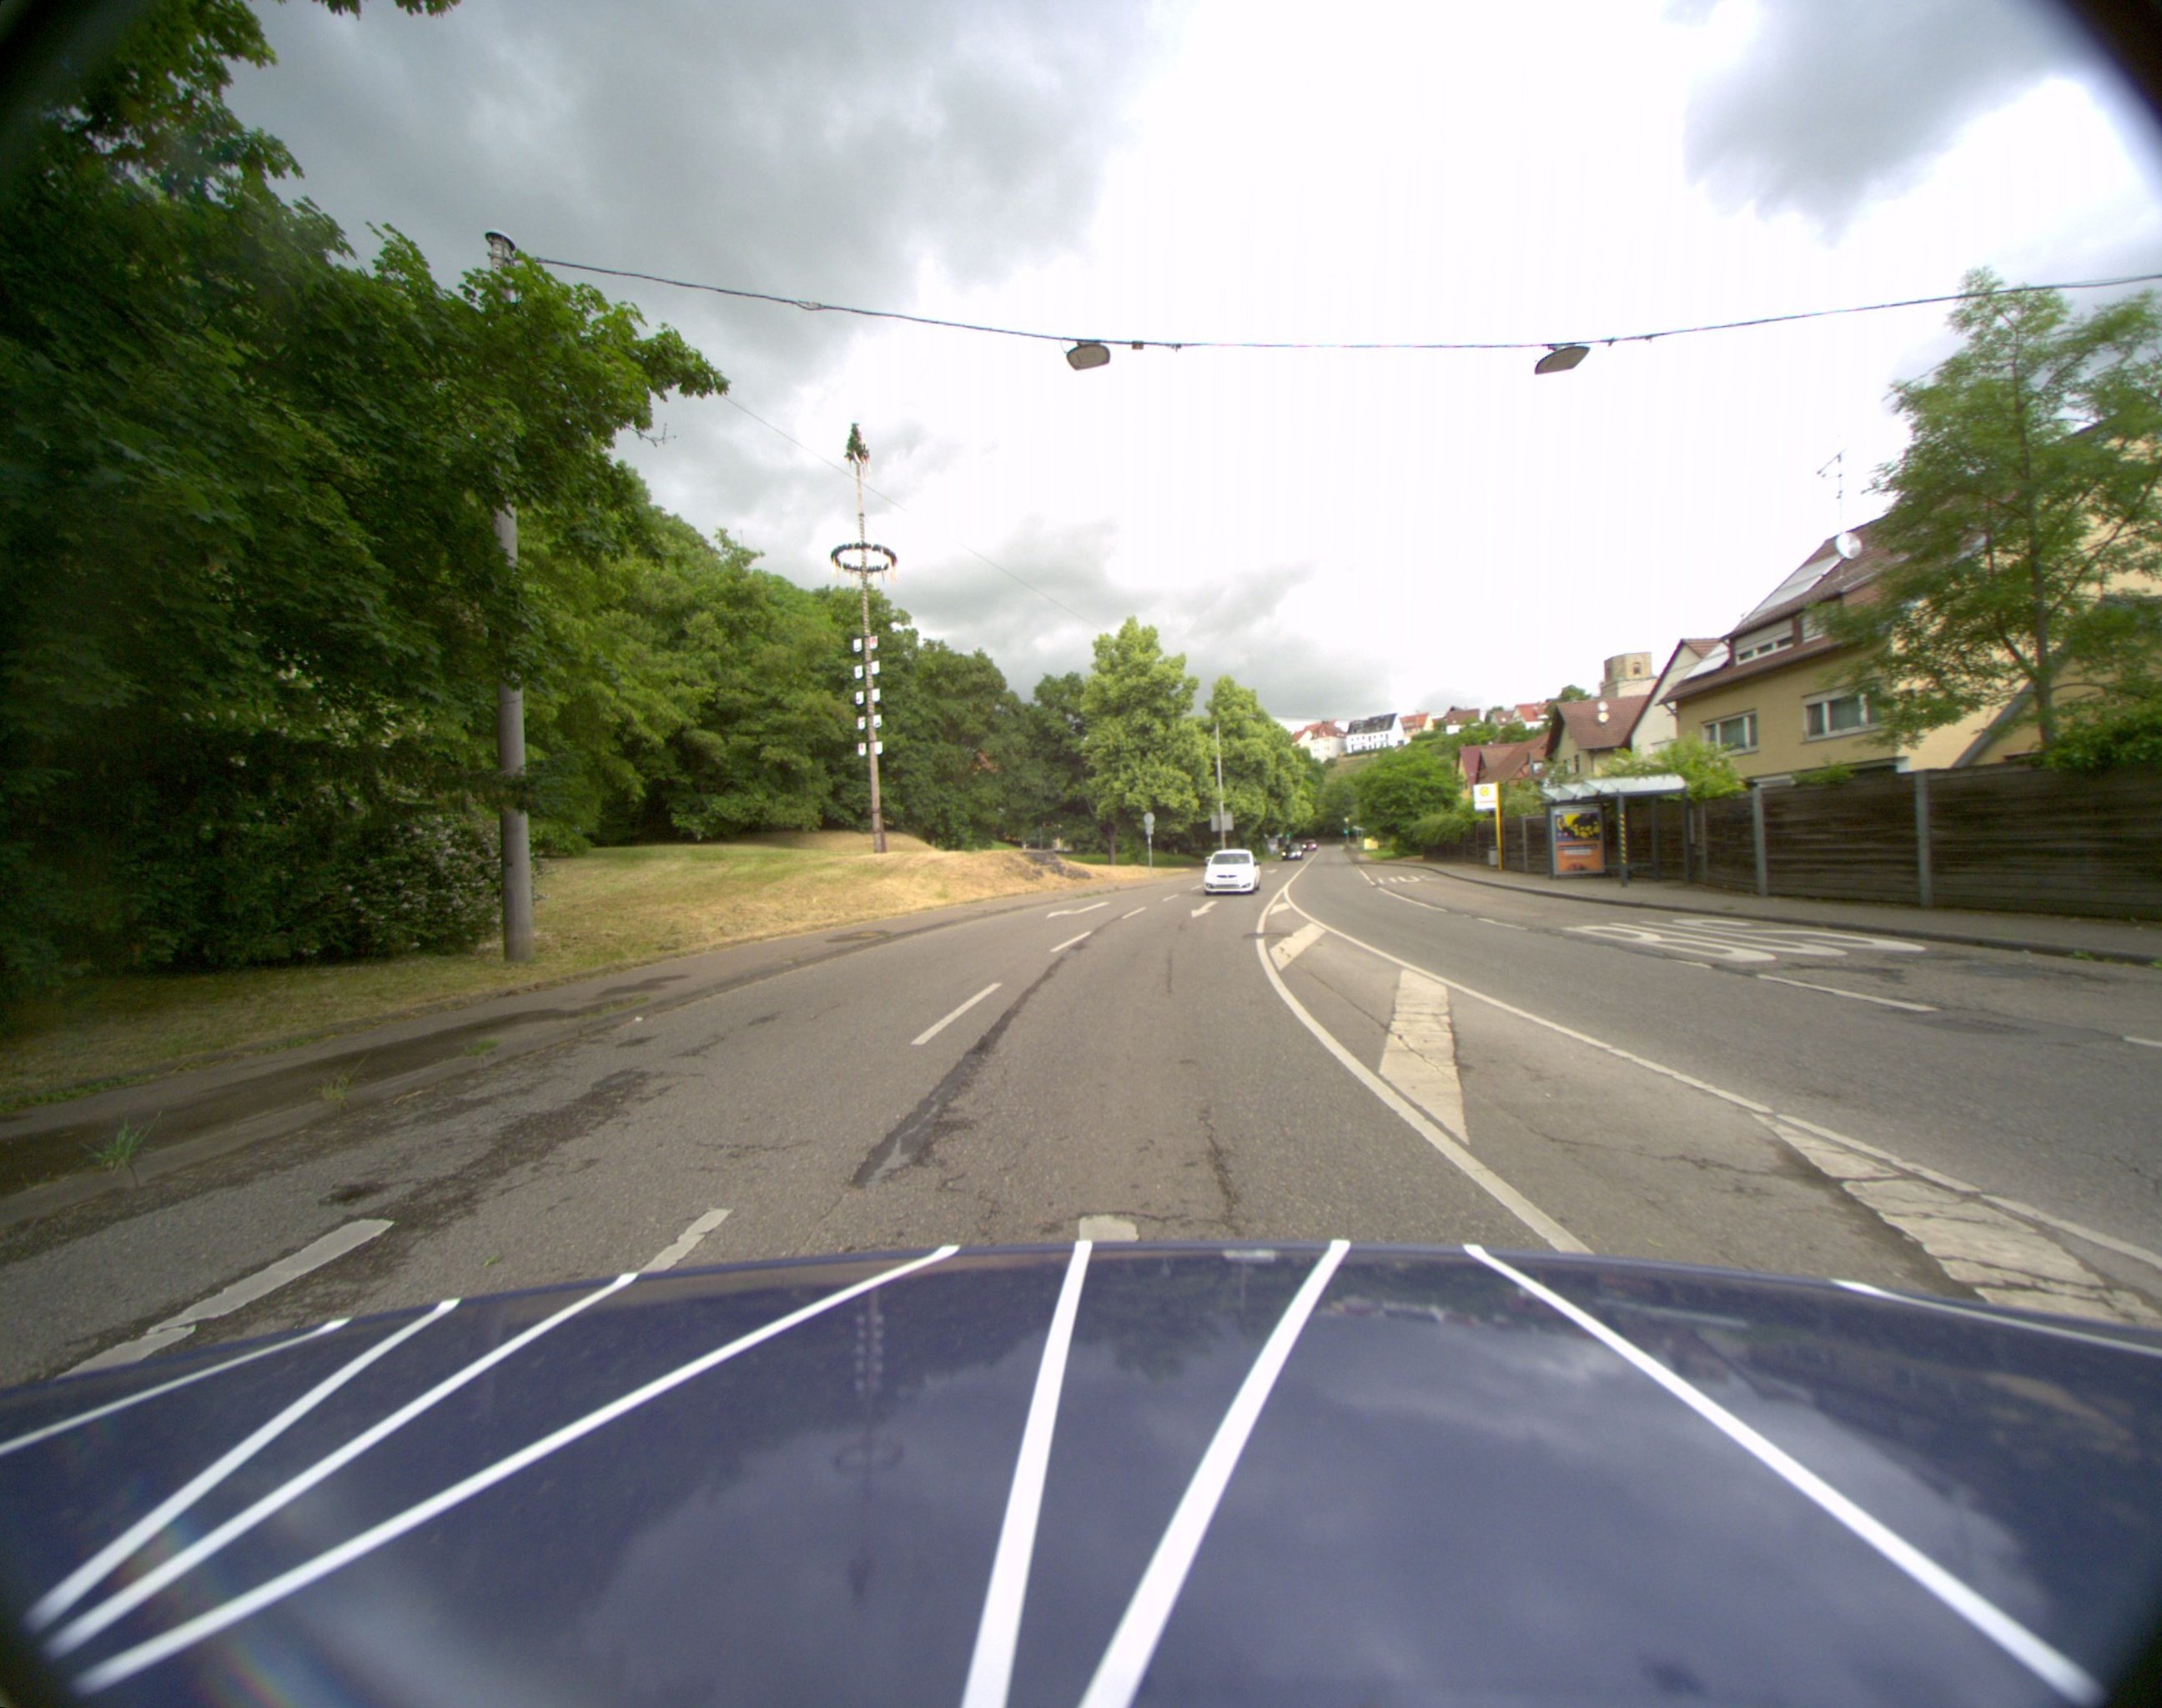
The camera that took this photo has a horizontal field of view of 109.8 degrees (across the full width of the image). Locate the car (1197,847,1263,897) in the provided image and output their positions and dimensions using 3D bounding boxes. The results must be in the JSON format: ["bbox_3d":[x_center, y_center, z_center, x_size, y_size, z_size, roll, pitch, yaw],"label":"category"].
[{"bbox_3d":[5.162,0.571,25.989,1.761,1.516,3.687,-2,1,17],"label":"car"}]

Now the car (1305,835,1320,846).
[{"bbox_3d":[34.931,-2.025,114.819,1.761,1.575,3.688,-2,1,23],"label":"car"}]

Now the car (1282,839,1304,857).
[{"bbox_3d":[19.440,-0.560,69.643,1.761,1.575,3.687,-2,1,17],"label":"car"}]
